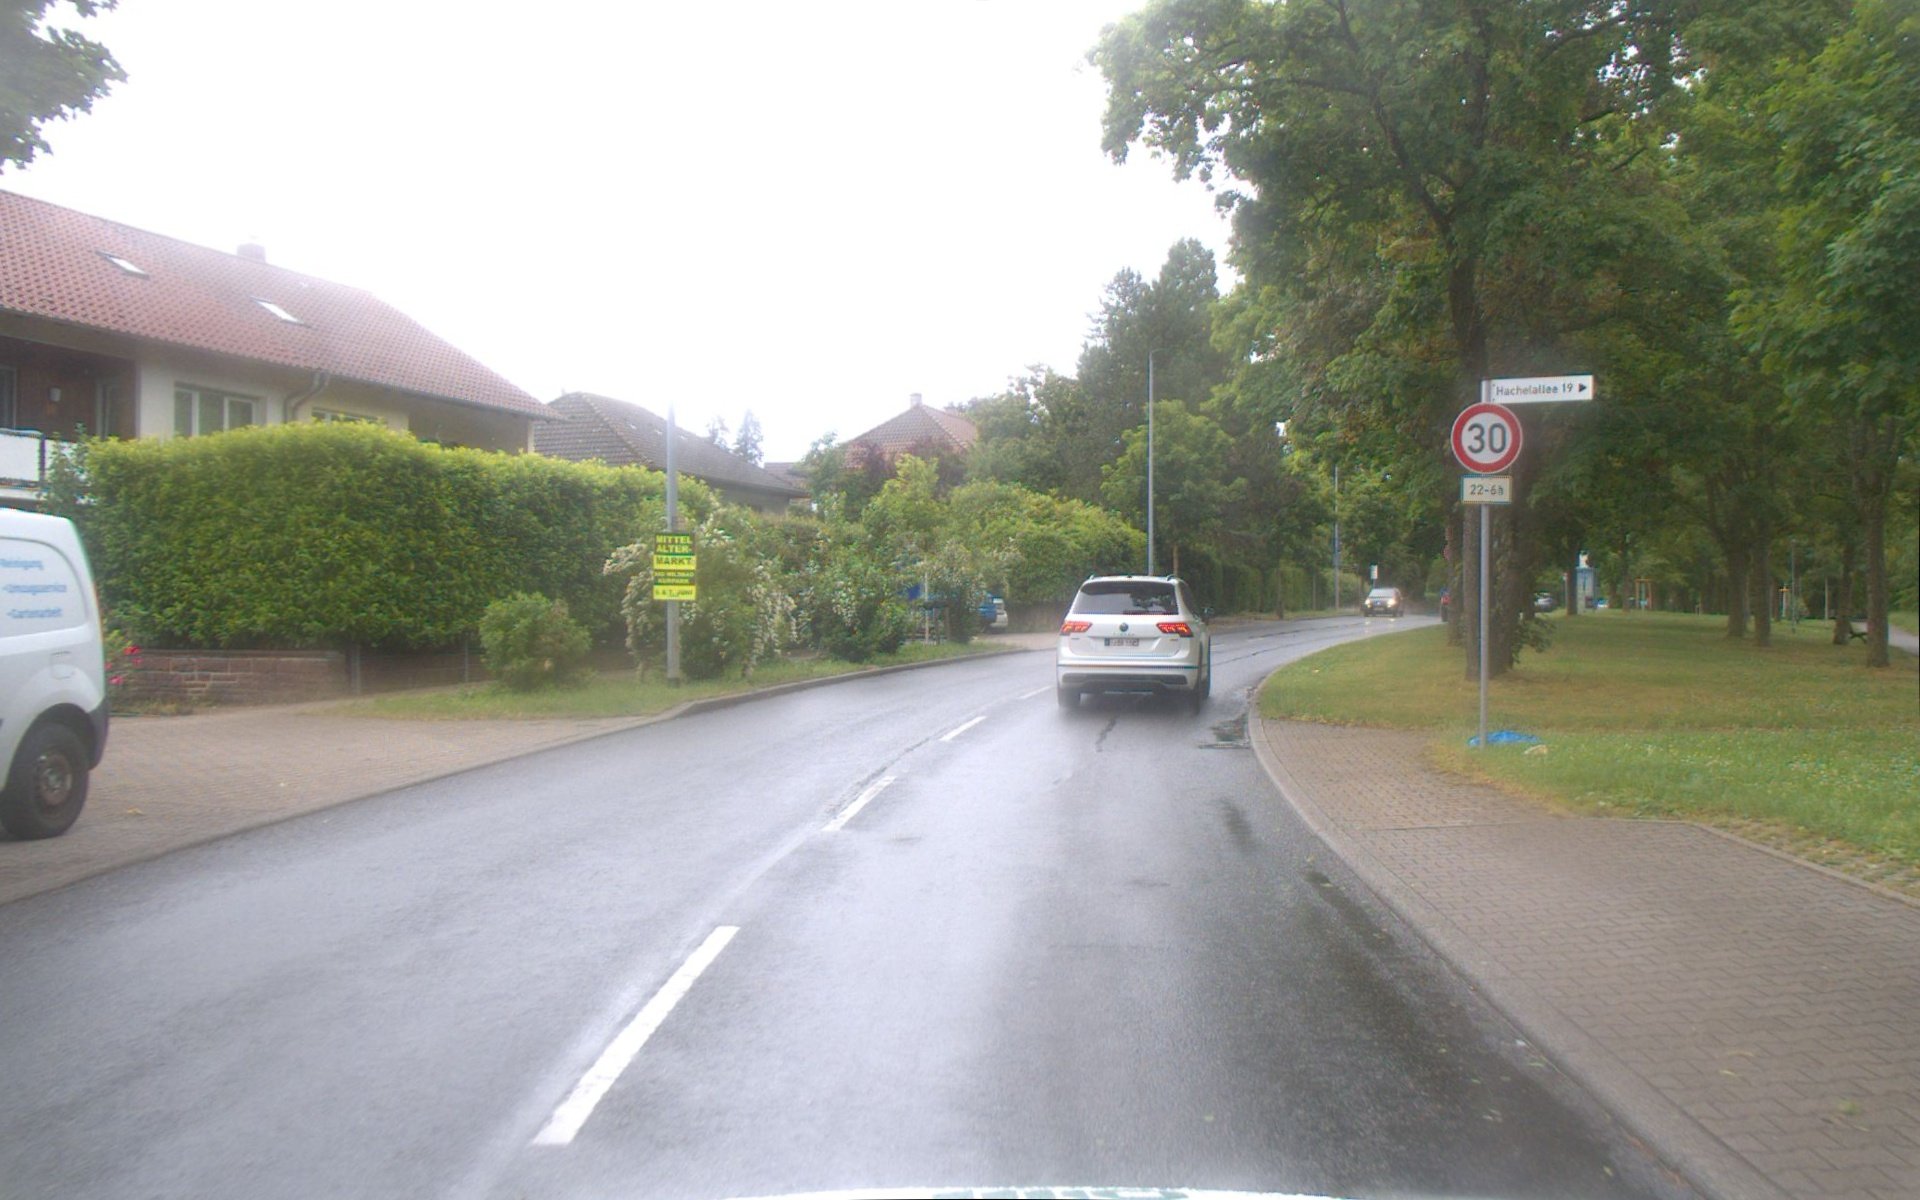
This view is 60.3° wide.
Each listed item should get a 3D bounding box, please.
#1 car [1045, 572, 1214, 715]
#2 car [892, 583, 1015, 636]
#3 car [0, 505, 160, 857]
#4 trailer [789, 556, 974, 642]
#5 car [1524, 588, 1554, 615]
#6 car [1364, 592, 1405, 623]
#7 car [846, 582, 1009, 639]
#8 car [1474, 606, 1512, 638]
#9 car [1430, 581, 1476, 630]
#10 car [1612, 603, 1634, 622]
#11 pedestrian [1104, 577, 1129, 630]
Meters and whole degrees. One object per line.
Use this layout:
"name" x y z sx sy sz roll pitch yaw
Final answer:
"car" 2.327 0.504 21.779 1.932 1.682 4.181 0 0 10
"car" -0.186 0.272 50.117 3.332 1.545 1.731 0 0 19
"car" -5.945 0.404 7.857 1.760 1.827 4.375 1 0 6
"trailer" -2.069 -0.042 43.764 4.524 2.209 1.815 0 0 19
"car" 42.249 0.130 120.709 1.952 1.836 4.000 2 -1 21
"car" 21.474 0.358 83.585 1.550 1.503 3.896 -1 0 21
"car" -0.908 0.274 46.940 4.149 1.566 2.053 0 0 19
"car" 31.926 1.341 98.946 1.952 1.790 4.000 2 -1 21
"car" 21.879 0.266 73.396 1.861 2.049 3.946 2 -1 17
"car" 60.712 1.166 151.523 1.391 1.598 3.433 2 -1 14
"pedestrian" 5.100 0.101 53.876 0.760 1.691 0.844 0 0 8
